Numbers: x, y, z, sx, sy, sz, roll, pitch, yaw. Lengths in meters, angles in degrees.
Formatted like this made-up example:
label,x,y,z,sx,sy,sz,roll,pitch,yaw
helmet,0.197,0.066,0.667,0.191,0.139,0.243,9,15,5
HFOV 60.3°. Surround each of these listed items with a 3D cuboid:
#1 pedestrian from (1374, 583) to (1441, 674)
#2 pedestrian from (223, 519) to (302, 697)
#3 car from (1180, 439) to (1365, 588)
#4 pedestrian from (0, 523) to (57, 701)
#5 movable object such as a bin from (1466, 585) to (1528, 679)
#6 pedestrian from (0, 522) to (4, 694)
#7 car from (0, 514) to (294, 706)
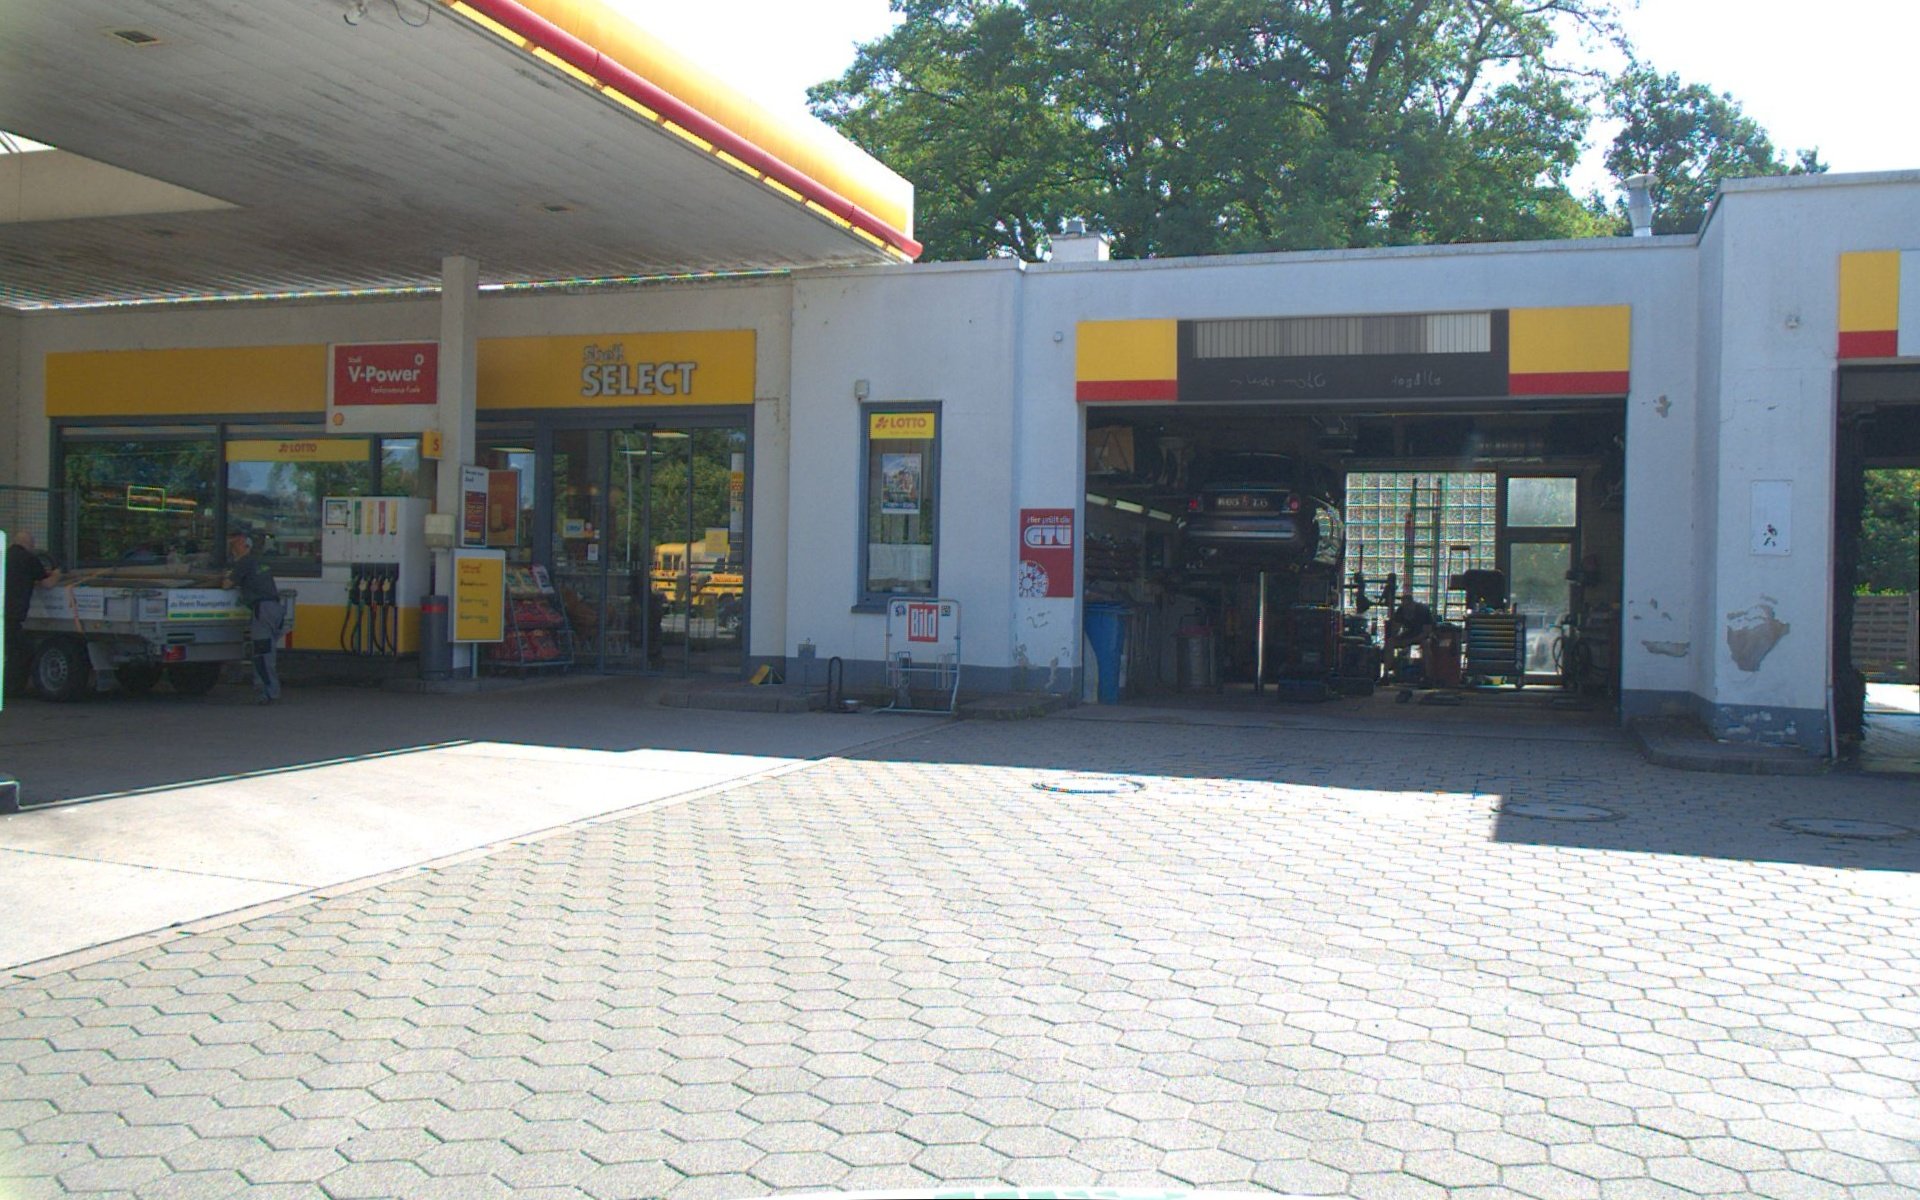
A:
label,x,y,z,sx,sy,sz,roll,pitch,yaw
pedestrian,6.137,0.394,22.642,0.845,1.219,0.743,0,-2,18
pedestrian,-6.779,0.074,16.074,0.489,1.697,0.476,1,0,20
car,4.015,-1.002,20.797,1.612,1.512,4.000,0,-2,21
pedestrian,-8.790,0.109,15.366,0.464,1.621,0.500,1,0,22
movable object such as a bin,7.331,0.440,22.584,0.780,1.258,0.544,0,-2,21
pedestrian,-9.554,0.071,15.831,0.464,1.660,0.500,1,0,22
car,-8.907,0.079,16.675,3.906,1.758,1.833,0,0,23
